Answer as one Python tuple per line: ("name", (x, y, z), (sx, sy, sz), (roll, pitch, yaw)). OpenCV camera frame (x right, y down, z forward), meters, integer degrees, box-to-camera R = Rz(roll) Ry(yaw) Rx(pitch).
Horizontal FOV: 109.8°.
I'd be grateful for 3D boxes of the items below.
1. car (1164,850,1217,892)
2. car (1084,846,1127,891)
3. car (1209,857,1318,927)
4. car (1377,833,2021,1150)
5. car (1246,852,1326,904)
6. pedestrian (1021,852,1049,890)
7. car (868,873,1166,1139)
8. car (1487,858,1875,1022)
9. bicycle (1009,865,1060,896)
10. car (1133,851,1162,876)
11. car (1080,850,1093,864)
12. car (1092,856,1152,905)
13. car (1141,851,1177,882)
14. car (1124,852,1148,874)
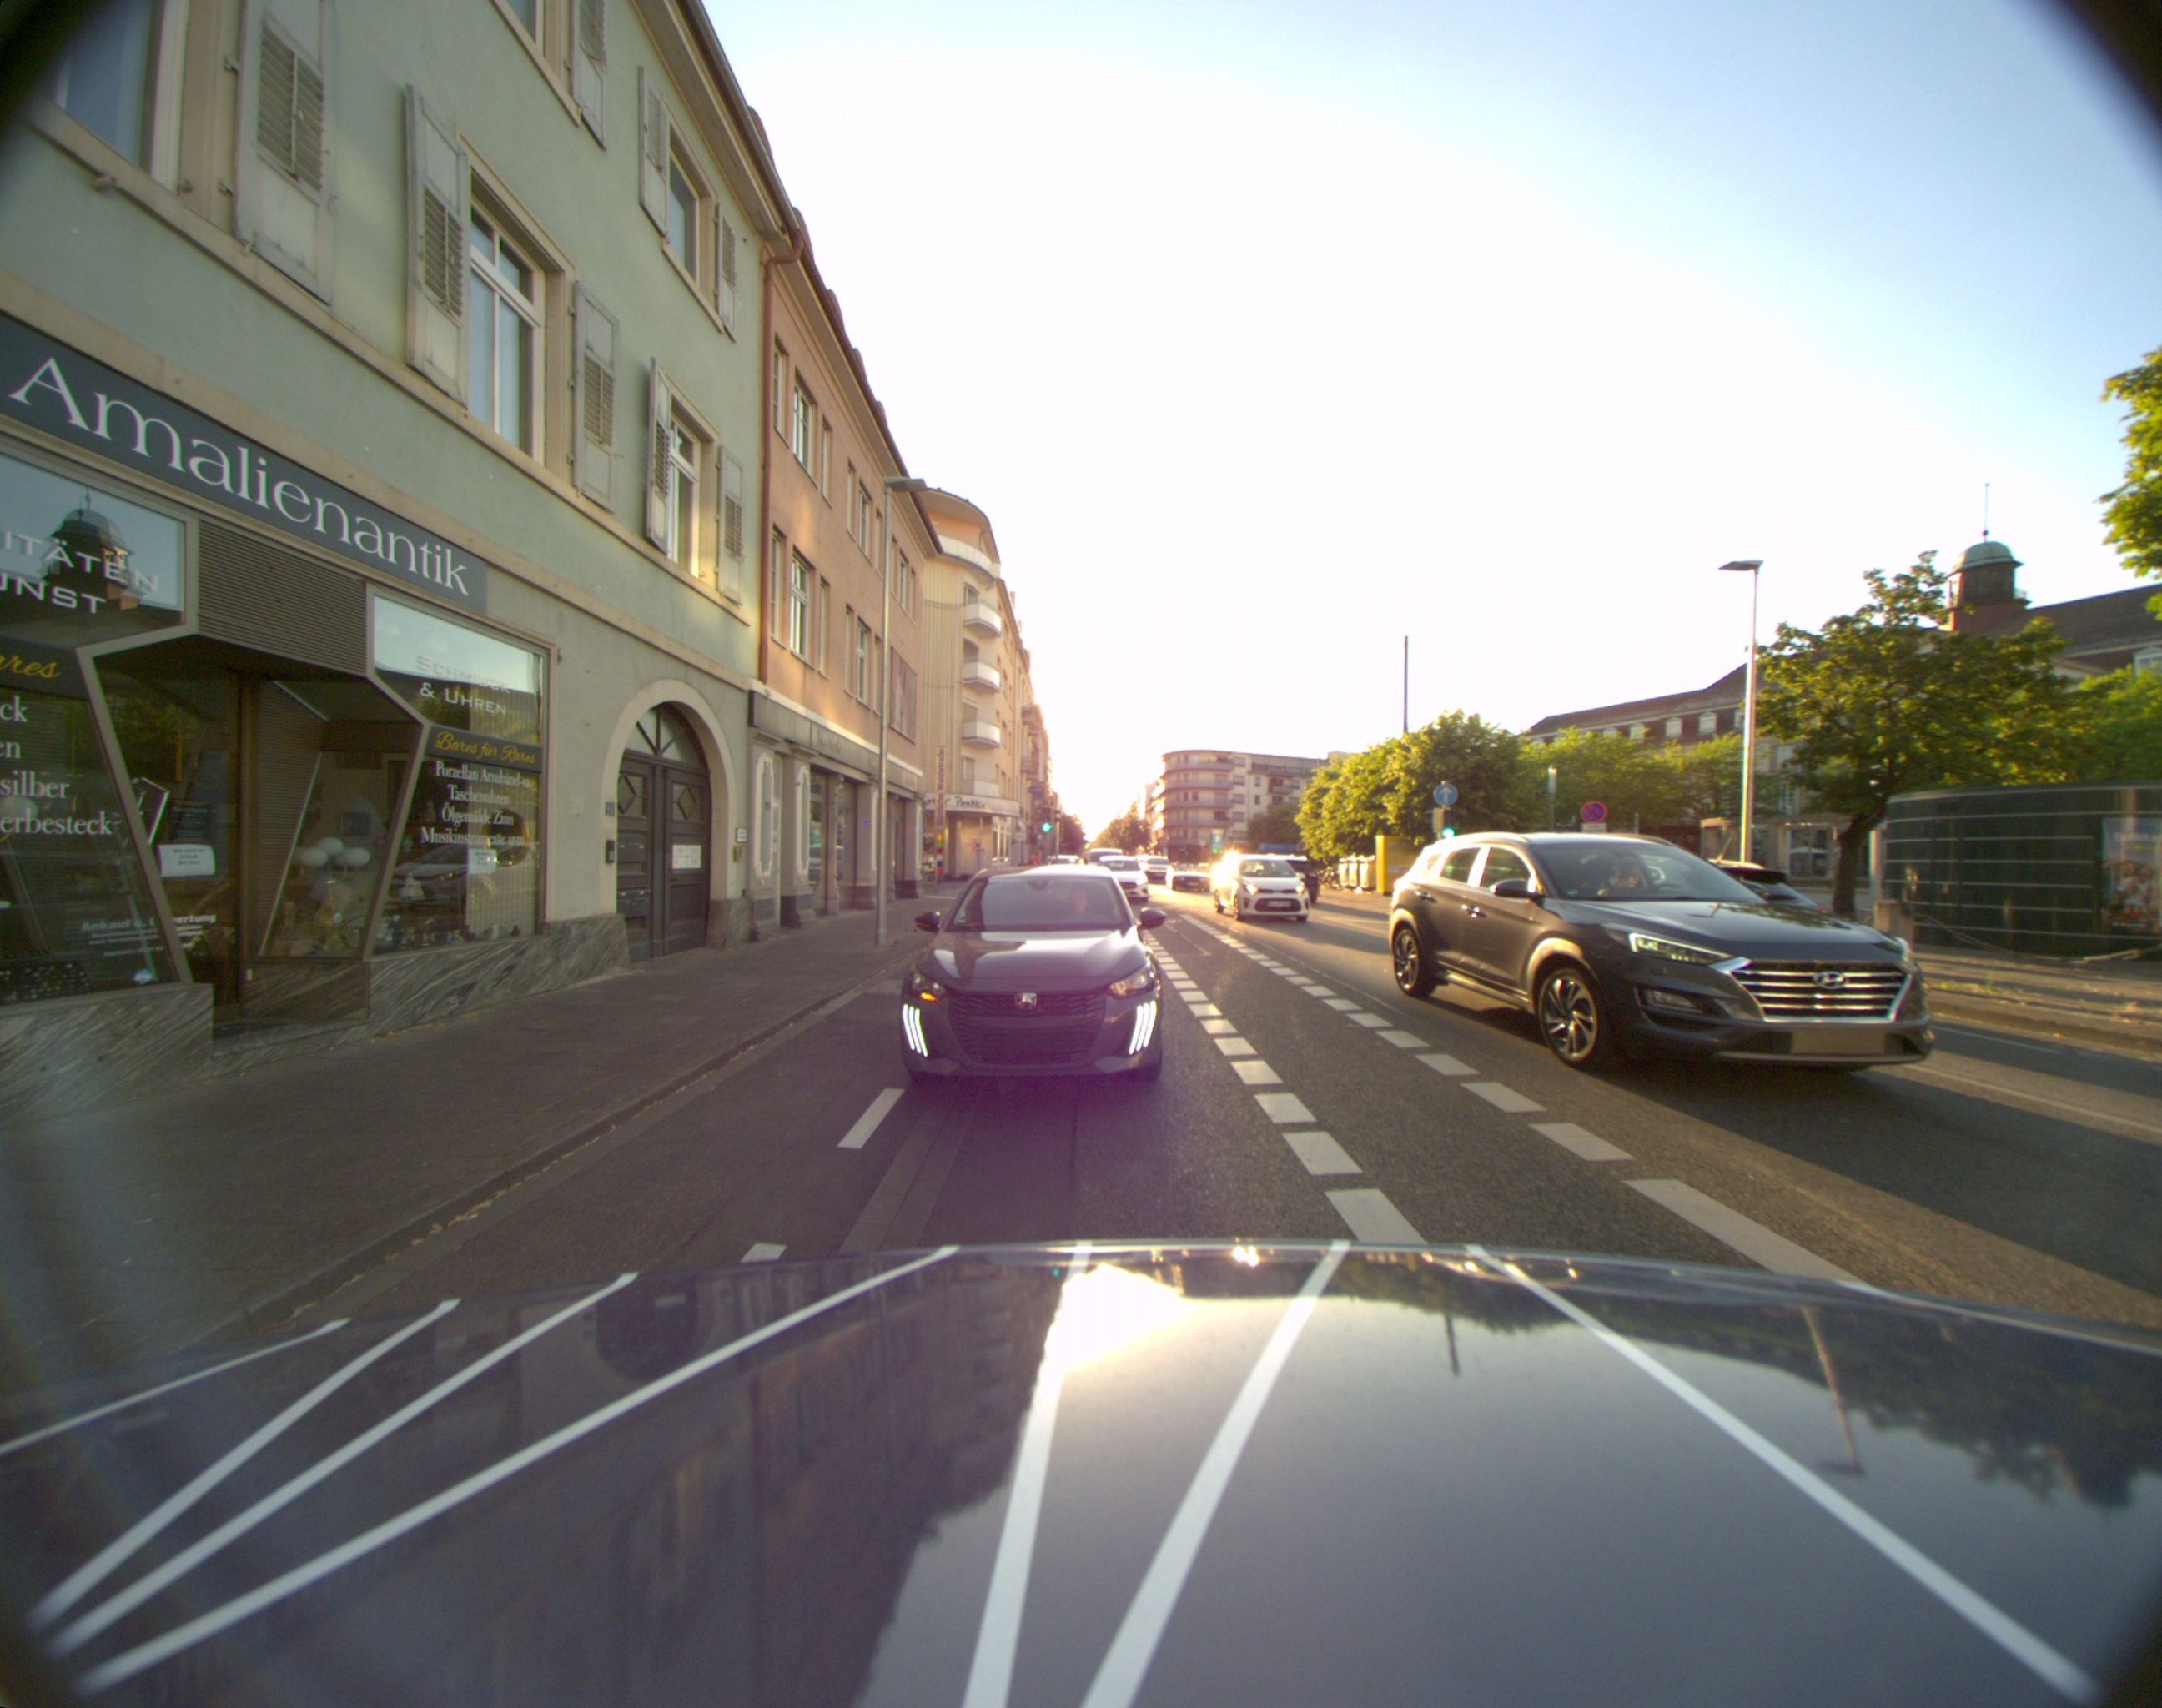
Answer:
("car", (4.903, 0.733, 34.502), (1.827, 1.730, 3.985), (2, 0, 1))
("car", (1.093, 0.630, 35.010), (1.827, 1.918, 3.985), (2, 0, 1))
("car", (4.275, 0.835, 18.394), (1.718, 1.463, 3.985), (1, 0, 1))
("car", (4.168, 0.745, 6.243), (1.827, 1.688, 4.259), (1, 0, 1))
("car", (7.524, 0.837, 28.232), (1.827, 1.688, 3.985), (3, 0, 1))
("pedestrian", (-1.633, 0.606, 27.114), (0.858, 1.343, 0.563), (1, 1, 11))
("car", (-0.271, 0.930, 6.382), (1.750, 1.434, 3.907), (0, 0, 3))
("car", (7.422, 0.922, 10.043), (1.827, 1.572, 3.999), (4, 0, -1))
("bicycle", (-1.651, 0.949, 27.127), (1.702, 1.051, 0.563), (1, 0, 11))
("car", (4.856, 0.701, 55.965), (1.880, 1.761, 4.001), (1, 0, 2))
("car", (0.825, 0.419, 114.005), (1.998, 2.002, 4.000), (1, 0, 0))
("car", (1.265, 0.800, 24.906), (1.827, 1.463, 3.985), (0, 0, 1))
("car", (4.701, 0.749, 46.264), (1.827, 1.730, 3.985), (2, 0, 1))
("car", (4.560, 0.746, 63.269), (1.880, 1.761, 4.001), (1, 0, 2))
